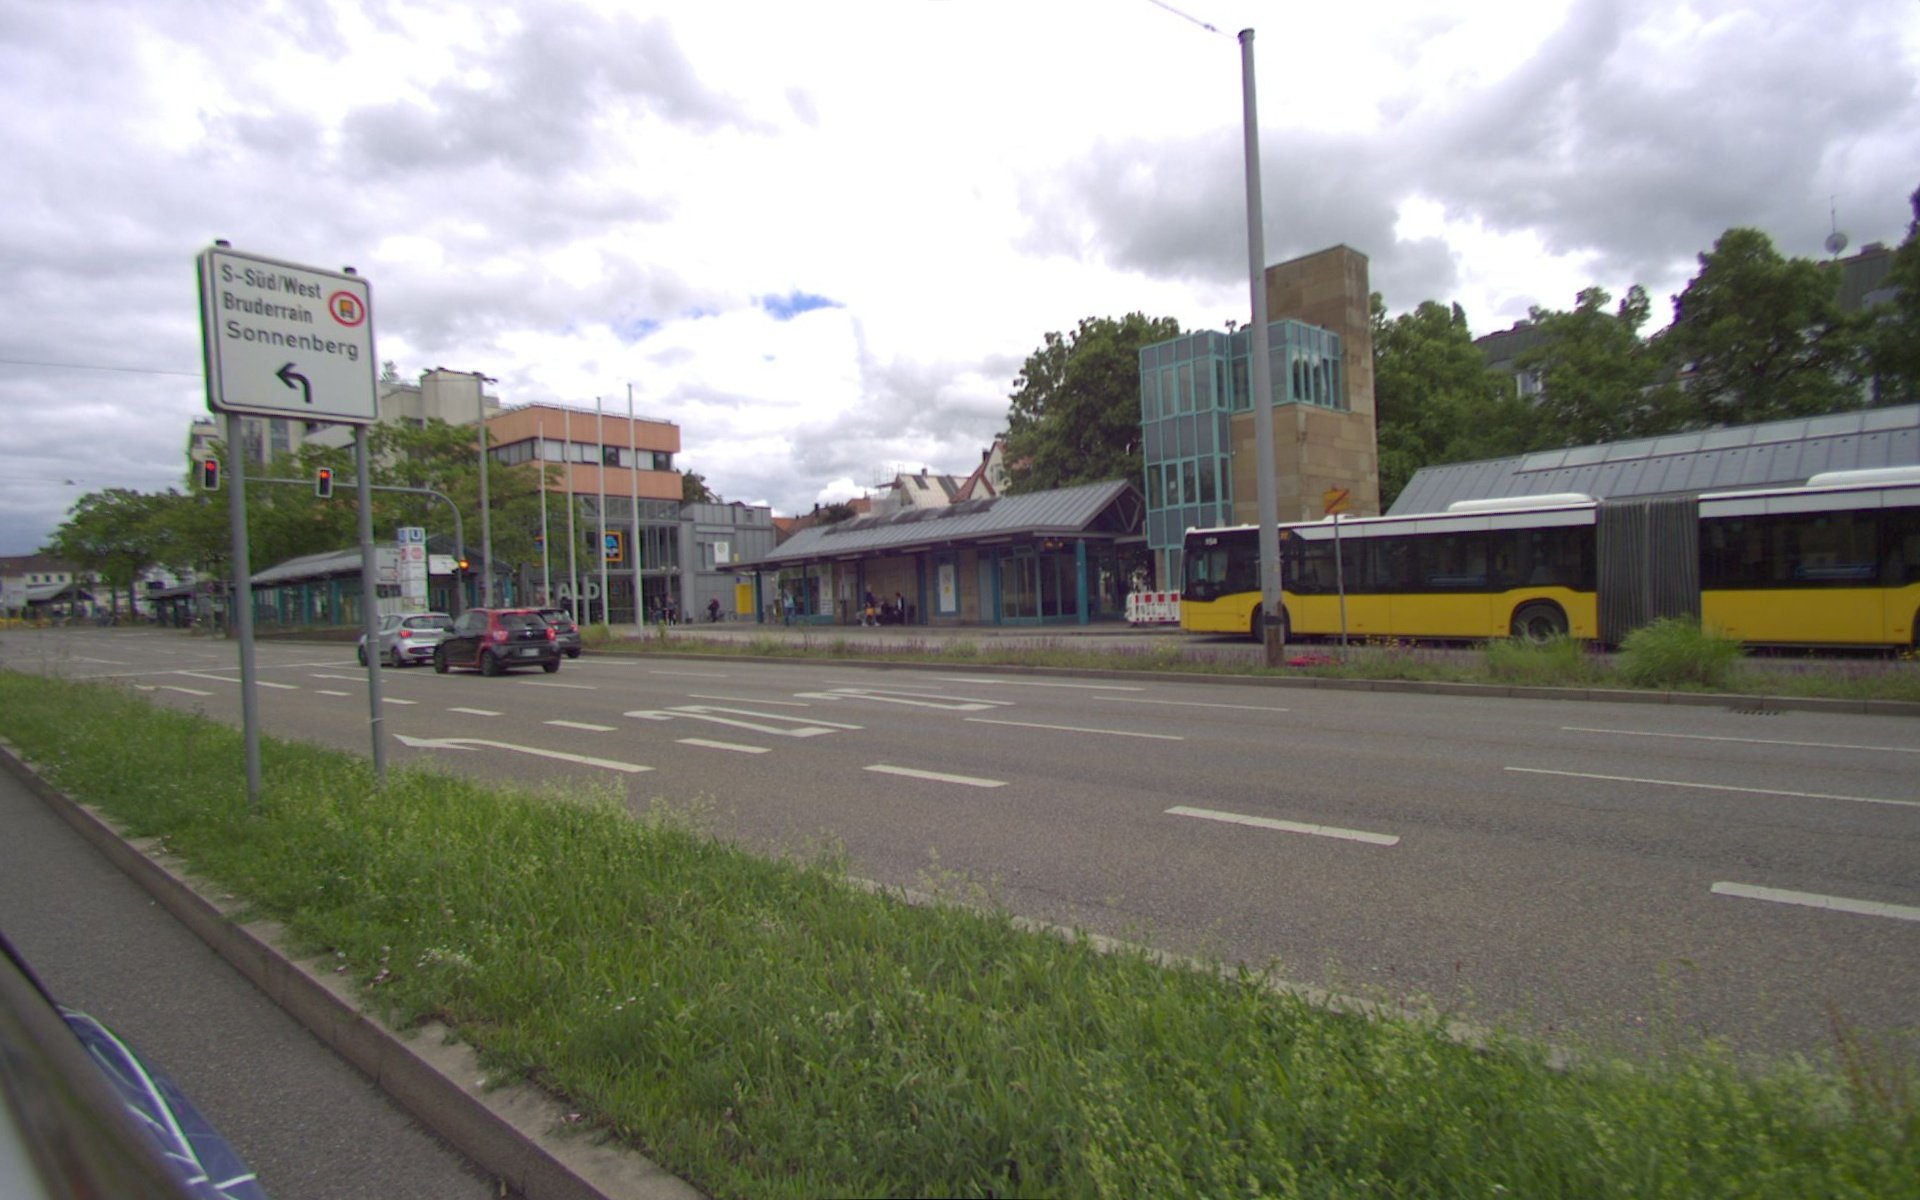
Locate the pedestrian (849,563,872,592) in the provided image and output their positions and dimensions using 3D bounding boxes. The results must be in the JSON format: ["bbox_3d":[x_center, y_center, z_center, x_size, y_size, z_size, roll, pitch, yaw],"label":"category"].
[{"bbox_3d":[-4.020,-0.905,40.901,0.658,1.129,0.612,-1,0,44],"label":"pedestrian"}]

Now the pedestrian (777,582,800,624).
[{"bbox_3d":[-6.966,0.124,41.082,0.658,1.662,0.612,-1,0,44],"label":"pedestrian"}]

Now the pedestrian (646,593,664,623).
[{"bbox_3d":[-16.076,0.434,53.331,0.750,1.559,0.526,-1,0,27],"label":"pedestrian"}]

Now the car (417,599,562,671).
[{"bbox_3d":[-11.031,0.765,23.647,3.766,1.519,1.642,-1,0,40],"label":"car"}]

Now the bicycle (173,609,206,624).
[{"bbox_3d":[-64.261,1.345,84.405,0.542,1.098,2.042,-1,2,42],"label":"bicycle"}]

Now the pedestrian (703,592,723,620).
[{"bbox_3d":[-13.346,0.339,54.740,0.992,1.472,0.583,-1,1,43],"label":"pedestrian"}]

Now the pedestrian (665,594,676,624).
[{"bbox_3d":[-15.397,0.484,53.821,0.378,1.559,0.485,-2,0,-2],"label":"pedestrian"}]

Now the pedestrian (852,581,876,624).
[{"bbox_3d":[-3.747,0.089,39.408,0.658,1.662,0.612,-1,0,44],"label":"pedestrian"}]

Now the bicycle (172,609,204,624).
[{"bbox_3d":[-64.715,1.386,84.808,0.542,1.147,2.042,-1,2,42],"label":"bicycle"}]

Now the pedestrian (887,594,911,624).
[{"bbox_3d":[-2.357,0.358,39.194,0.658,1.129,0.612,-1,0,44],"label":"pedestrian"}]

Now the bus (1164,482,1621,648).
[{"bbox_3d":[9.555,-0.663,23.656,2.743,3.155,9.447,-4,2,-43],"label":"bus"}]

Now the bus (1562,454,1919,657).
[{"bbox_3d":[15.721,-0.761,16.865,2.776,3.155,9.312,-4,2,-42],"label":"bus"}]

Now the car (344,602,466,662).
[{"bbox_3d":[-15.313,0.882,27.860,3.788,1.476,1.727,-2,0,41],"label":"car"}]

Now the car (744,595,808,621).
[{"bbox_3d":[-12.493,0.544,68.828,1.997,1.608,3.949,-1,1,38],"label":"car"}]

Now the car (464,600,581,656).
[{"bbox_3d":[-13.012,0.782,30.019,4.002,1.519,1.795,-1,0,44],"label":"car"}]

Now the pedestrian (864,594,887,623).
[{"bbox_3d":[-3.339,0.330,40.010,0.658,1.129,0.612,-1,0,44],"label":"pedestrian"}]
